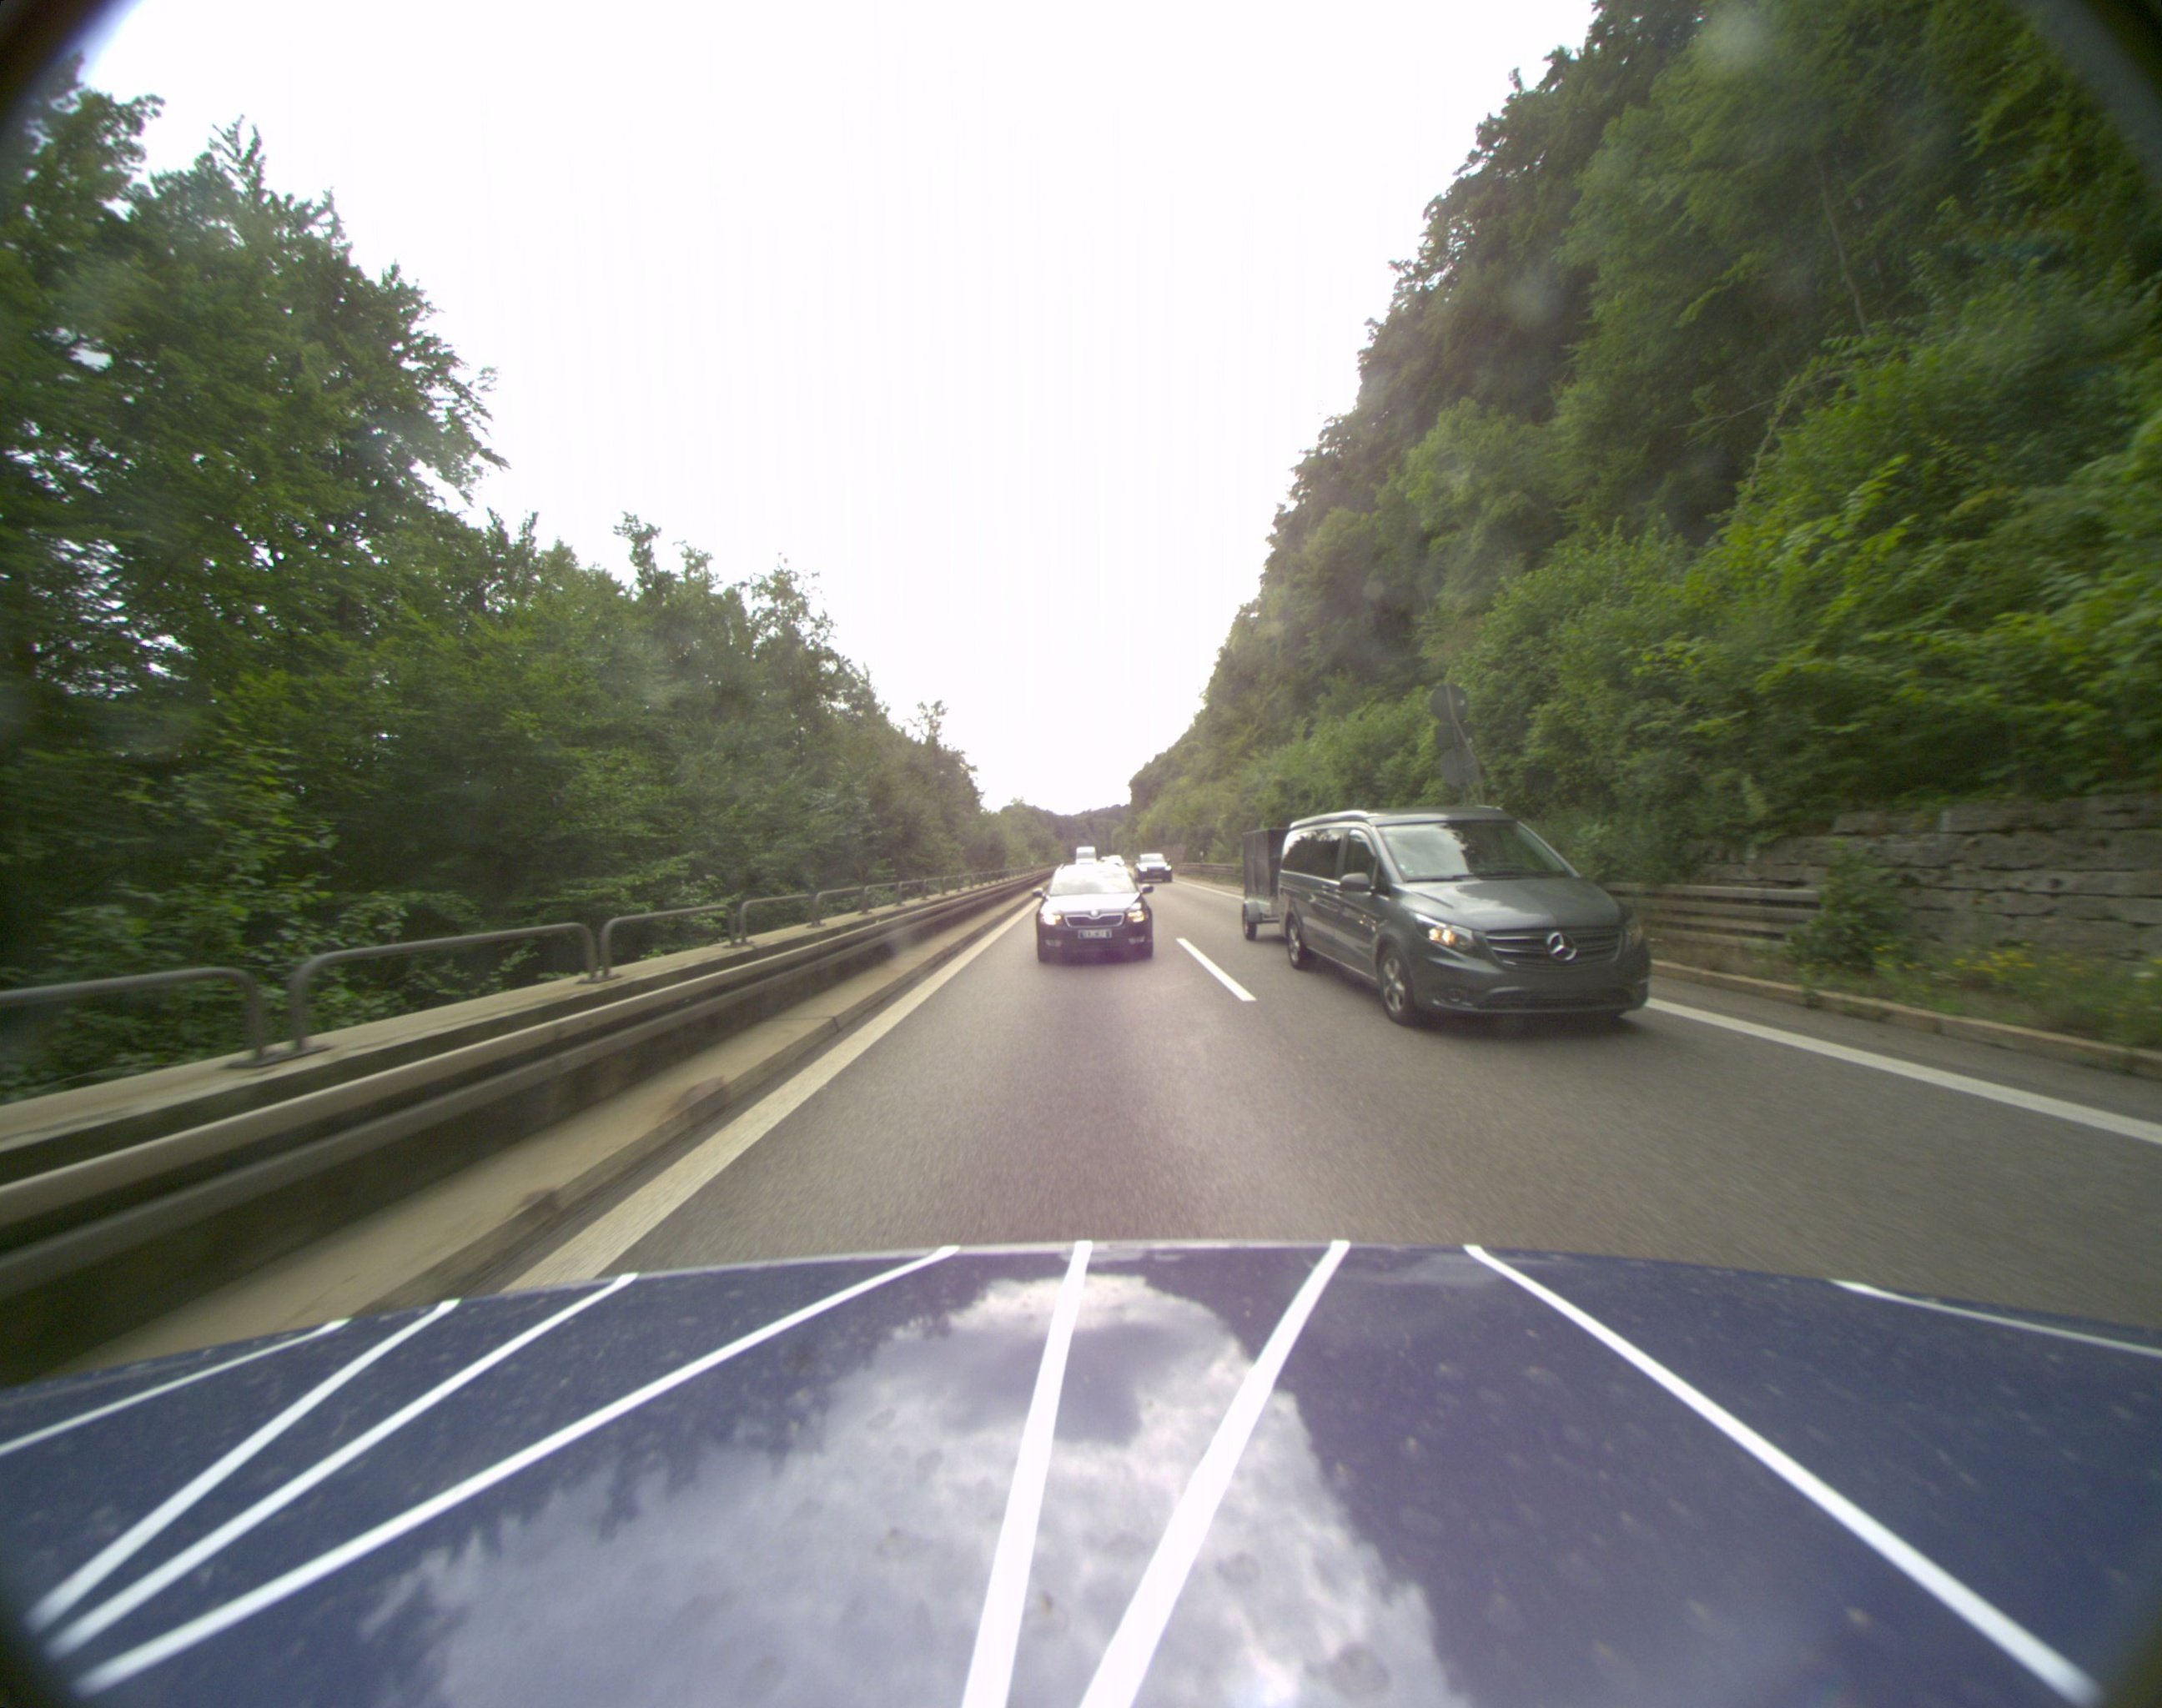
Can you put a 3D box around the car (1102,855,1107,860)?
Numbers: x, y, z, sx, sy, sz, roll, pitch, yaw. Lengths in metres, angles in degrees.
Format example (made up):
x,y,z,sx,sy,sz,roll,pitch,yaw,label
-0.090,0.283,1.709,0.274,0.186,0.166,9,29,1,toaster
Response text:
x,y,z,sx,sy,sz,roll,pitch,yaw,label
7.856,1.093,253.652,1.823,1.546,4.002,0,-1,3,car

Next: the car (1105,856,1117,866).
x,y,z,sx,sy,sz,roll,pitch,yaw,label
4.823,1.177,123.033,1.823,1.546,4.001,0,-1,1,car

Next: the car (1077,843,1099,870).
x,y,z,sx,sy,sz,roll,pitch,yaw,label
0.703,0.303,74.100,2.099,2.547,5.921,0,-1,1,car

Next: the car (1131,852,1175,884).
x,y,z,sx,sy,sz,roll,pitch,yaw,label
4.155,0.771,44.618,1.976,1.584,5.584,-2,1,0,car

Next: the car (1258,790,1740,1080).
x,y,z,sx,sy,sz,roll,pitch,yaw,label
3.553,0.579,8.043,1.999,2.002,5.540,0,0,-1,car

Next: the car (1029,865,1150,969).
x,y,z,sx,sy,sz,roll,pitch,yaw,label
0.169,0.942,12.972,1.638,1.384,4.500,-3,-1,1,car

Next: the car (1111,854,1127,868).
x,y,z,sx,sy,sz,roll,pitch,yaw,label
4.353,0.787,87.453,1.823,1.546,4.001,0,-1,1,car

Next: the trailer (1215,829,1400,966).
x,y,z,sx,sy,sz,roll,pitch,yaw,label
3.515,0.634,12.493,1.976,1.928,3.430,0,0,-1,trailer
